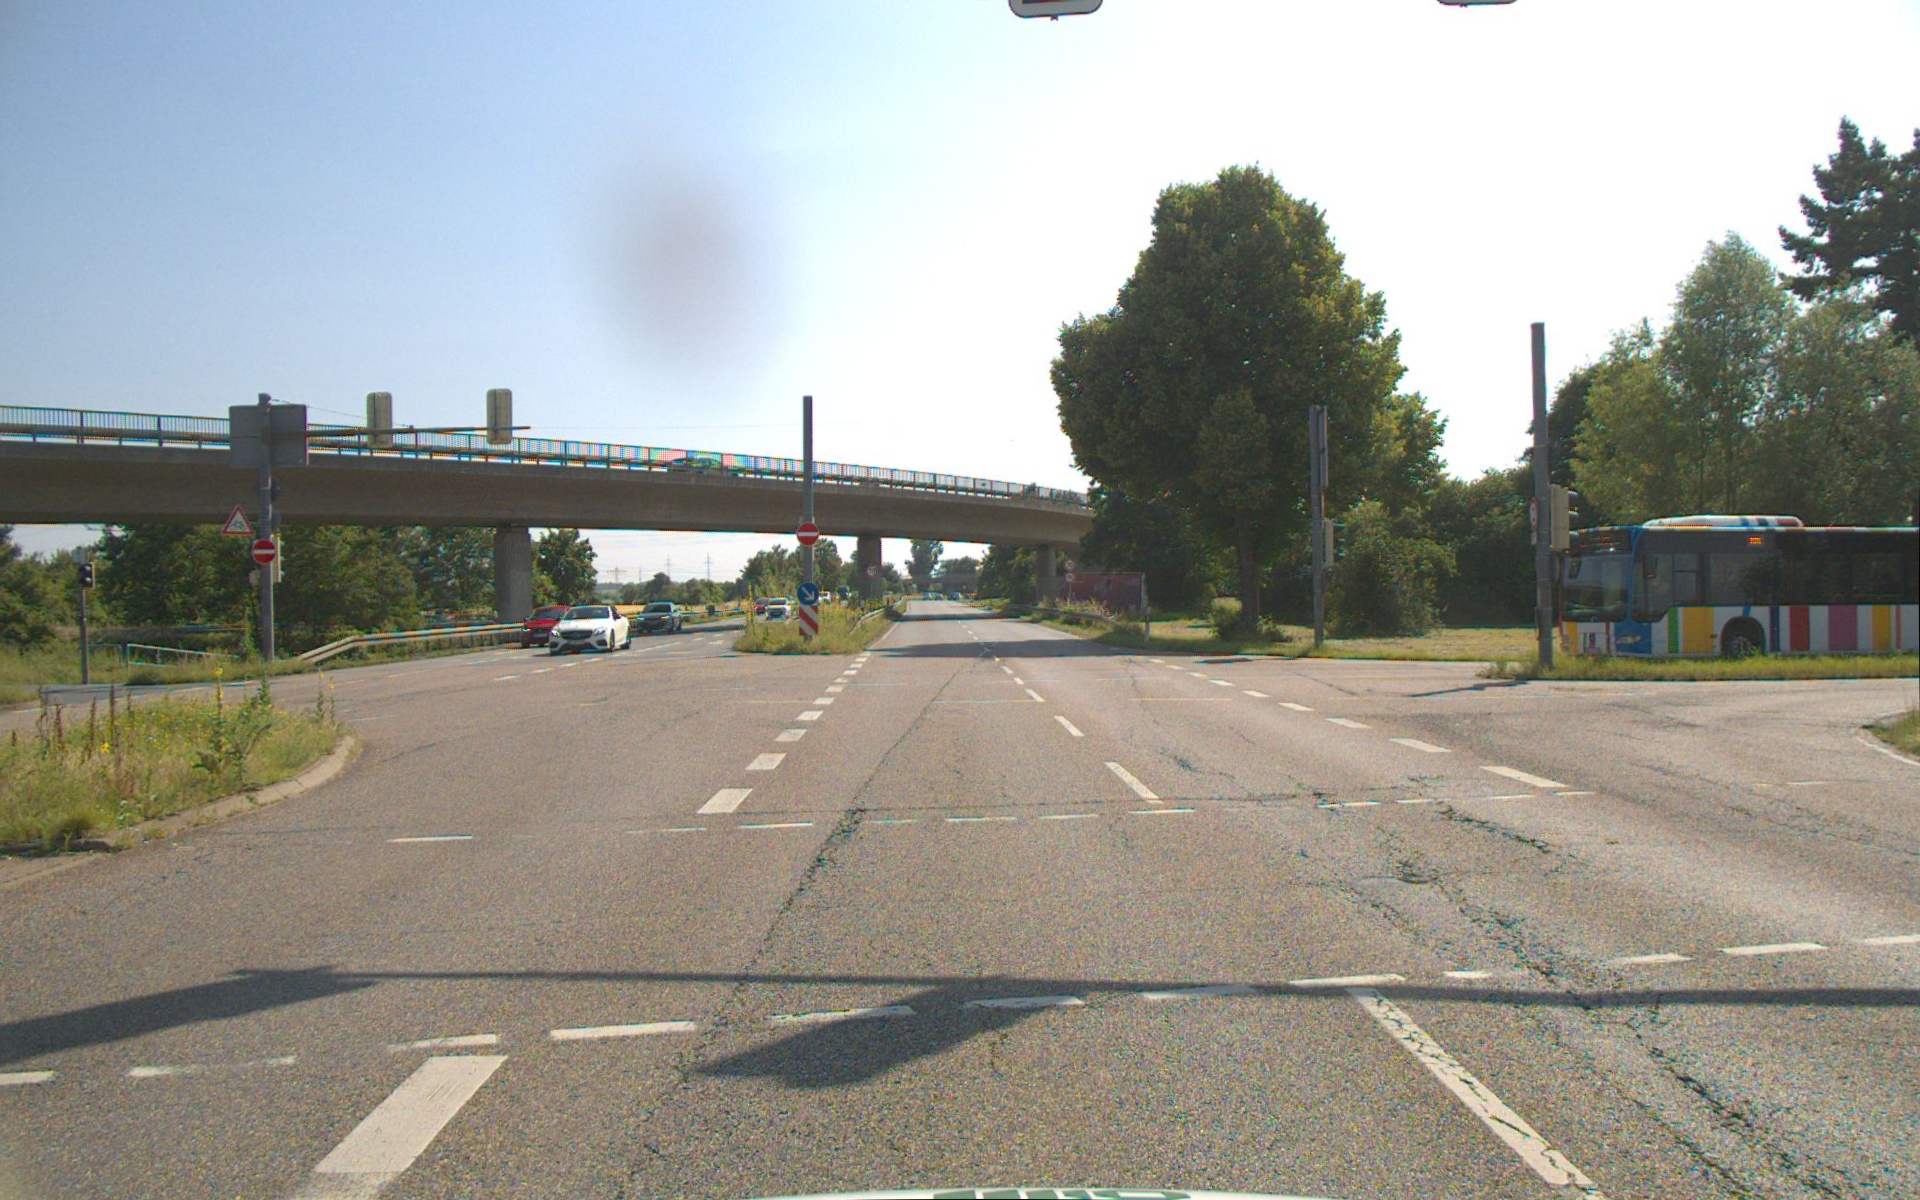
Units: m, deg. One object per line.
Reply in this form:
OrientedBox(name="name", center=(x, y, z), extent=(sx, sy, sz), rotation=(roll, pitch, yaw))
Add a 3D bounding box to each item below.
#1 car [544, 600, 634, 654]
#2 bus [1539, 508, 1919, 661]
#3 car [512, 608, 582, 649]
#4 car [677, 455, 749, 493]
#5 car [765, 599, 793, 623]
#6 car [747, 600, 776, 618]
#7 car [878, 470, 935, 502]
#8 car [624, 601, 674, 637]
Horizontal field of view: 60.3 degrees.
OrientedBox(name="car", center=(-11.256, 0.788, 50.472), extent=(1.819, 1.473, 4.239), rotation=(-3, 0, -2))
OrientedBox(name="bus", center=(18.450, -0.422, 35.639), extent=(11.745, 2.927, 2.929), rotation=(-2, 0, -16))
OrientedBox(name="car", center=(-15.187, 1.028, 61.025), extent=(1.607, 1.409, 4.239), rotation=(-2, 0, -2))
OrientedBox(name="car", center=(-11.603, -5.895, 77.914), extent=(1.508, 1.503, 3.383), rotation=(-3, -1, 31))
OrientedBox(name="car", center=(-12.631, 0.741, 115.630), extent=(1.525, 1.567, 3.999), rotation=(-2, 0, -1))
OrientedBox(name="car", center=(-18.764, 0.826, 156.773), extent=(1.951, 1.585, 4.002), rotation=(-2, 0, 5))
OrientedBox(name="car", center=(-3.000, -6.422, 93.504), extent=(1.703, 1.495, 3.748), rotation=(1, -1, 24))
OrientedBox(name="car", center=(-15.340, 0.905, 81.700), extent=(1.754, 1.656, 3.998), rotation=(-2, 0, -2))
